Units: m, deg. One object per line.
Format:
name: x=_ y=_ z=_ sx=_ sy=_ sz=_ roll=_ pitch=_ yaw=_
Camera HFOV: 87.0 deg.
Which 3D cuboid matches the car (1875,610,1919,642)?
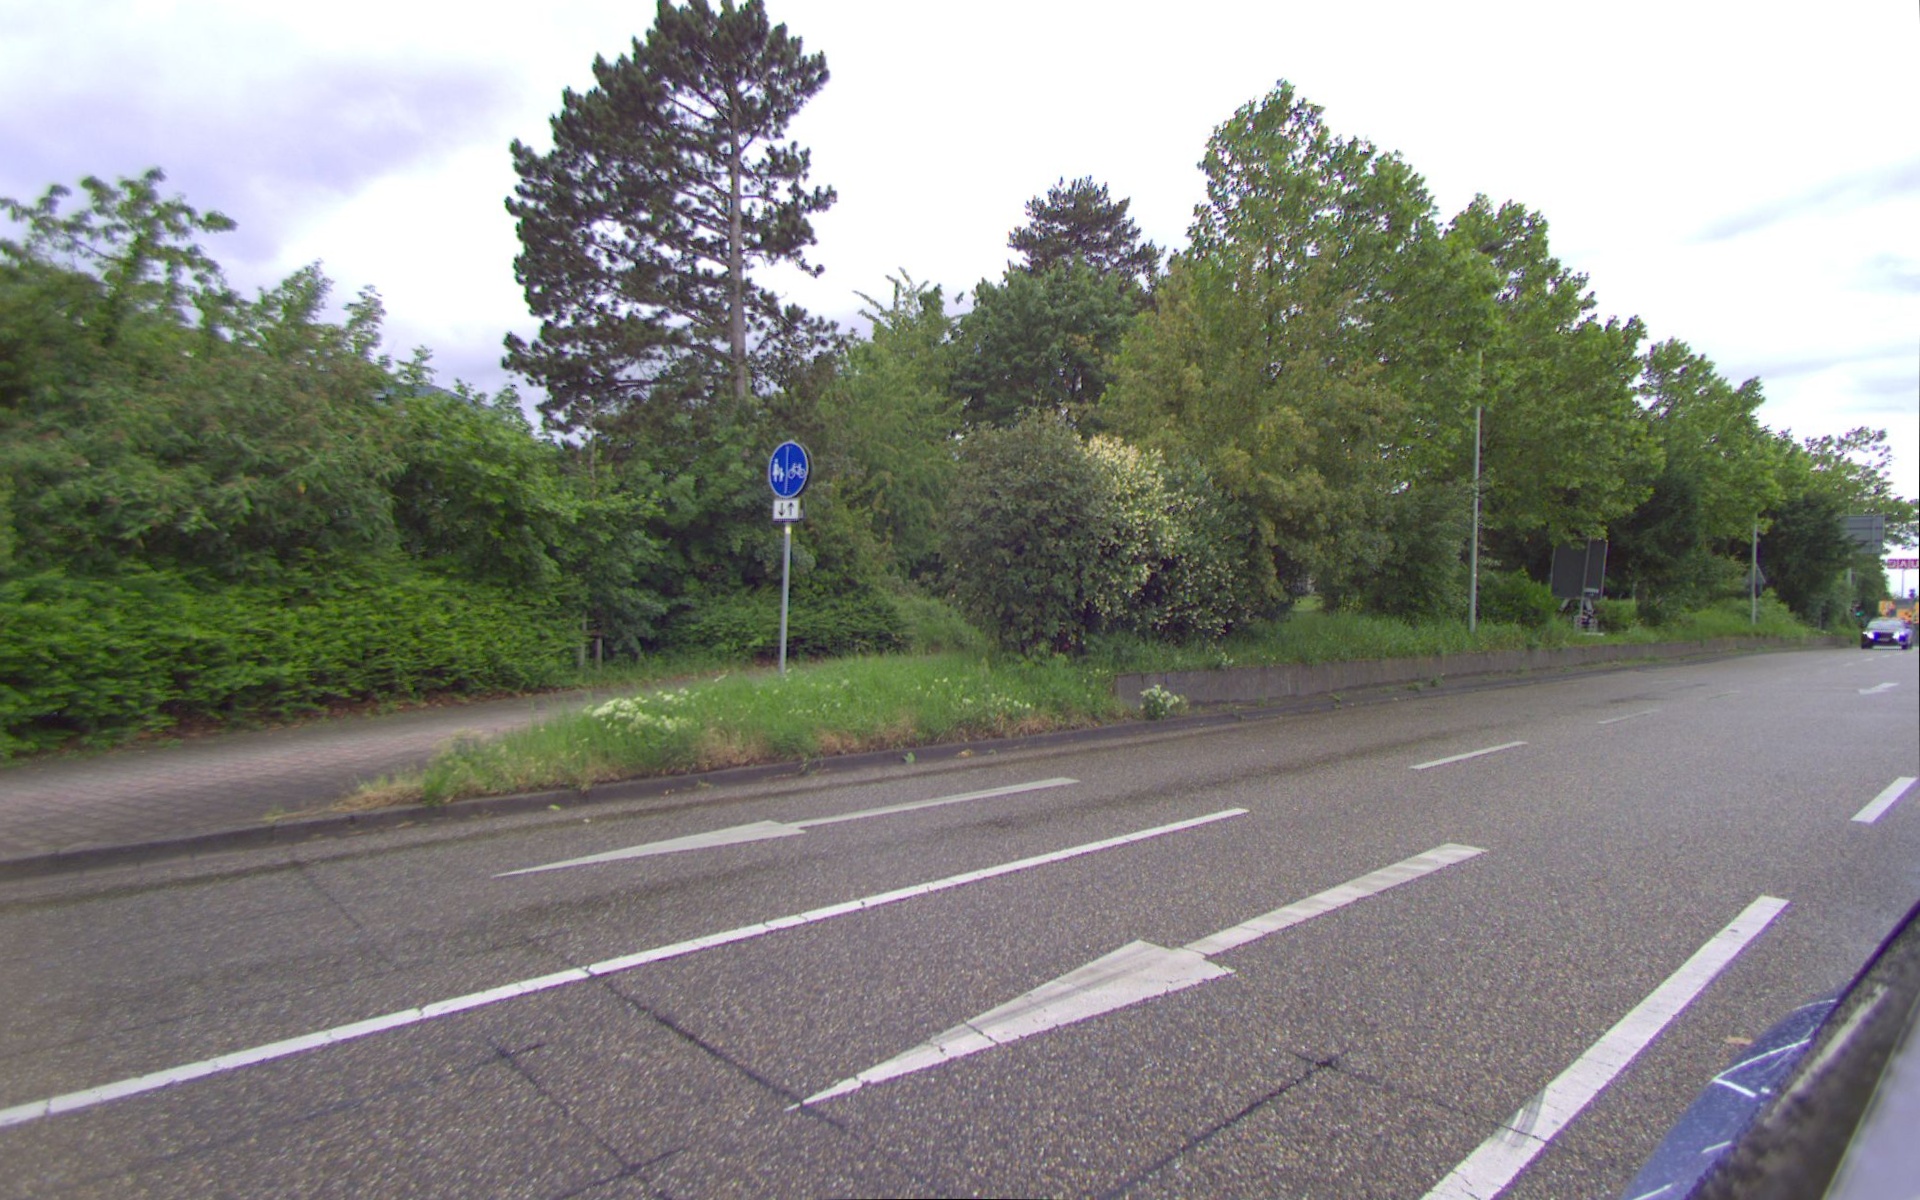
car: x=49.821 y=1.354 z=53.656 sx=3.778 sy=1.643 sz=1.702 roll=1 pitch=-2 yaw=-44
